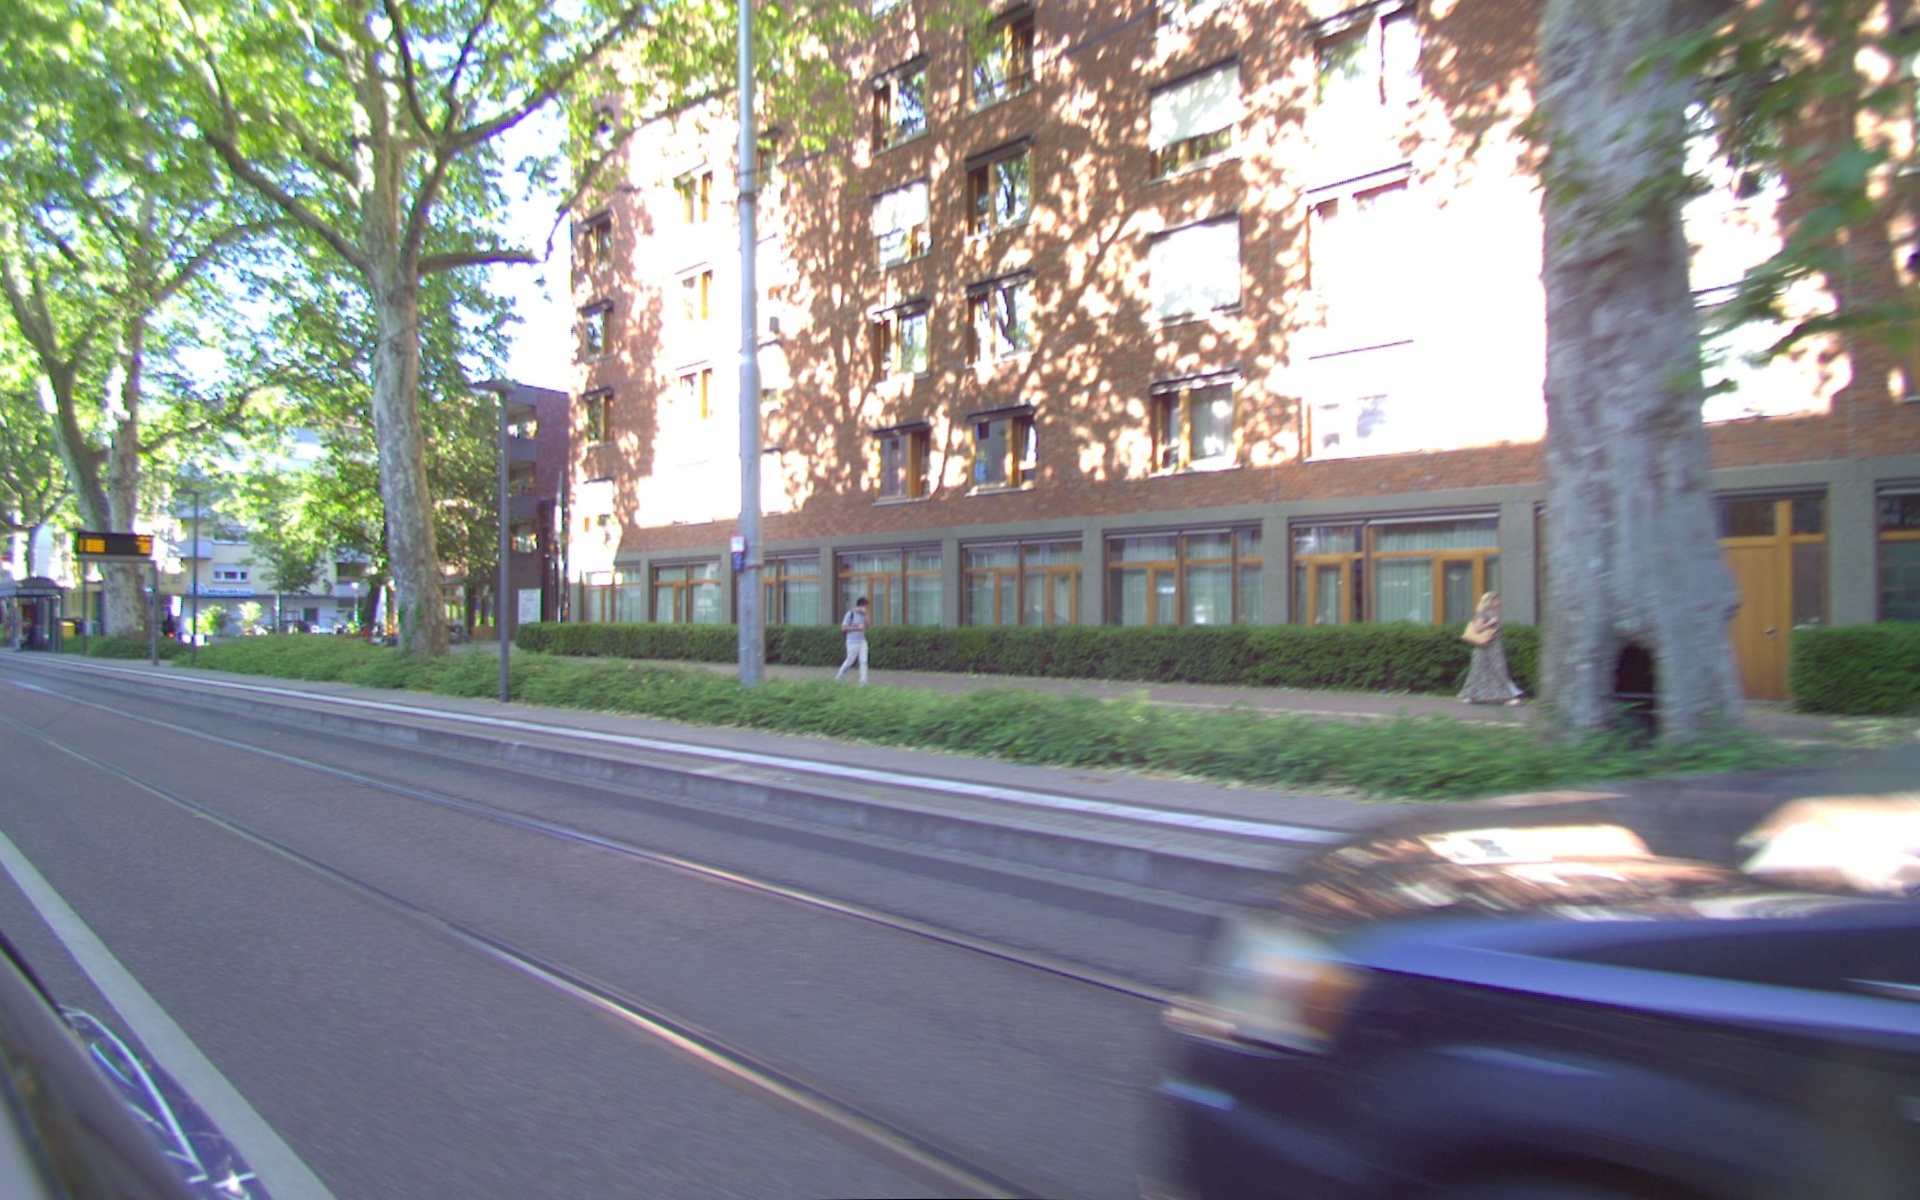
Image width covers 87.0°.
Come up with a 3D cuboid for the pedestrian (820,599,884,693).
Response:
[{"bbox_3d":[-2.087,0.867,19.561,0.971,1.757,0.756,-1,0,41],"label":"pedestrian"}]

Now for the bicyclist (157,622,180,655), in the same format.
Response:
[{"bbox_3d":[-36.729,1.780,46.945,0.892,1.526,0.725,-1,0,44],"label":"bicyclist"}]

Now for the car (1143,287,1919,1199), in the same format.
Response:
[{"bbox_3d":[2.885,0.509,0.719,5.140,1.729,1.973,-1,0,41],"label":"car"}]

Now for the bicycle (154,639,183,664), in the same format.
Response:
[{"bbox_3d":[-36.731,2.372,46.952,2.039,1.102,0.738,-1,0,43],"label":"bicycle"}]

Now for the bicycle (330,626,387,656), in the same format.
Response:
[{"bbox_3d":[-25.819,1.758,43.415,2.067,1.198,0.883,-1,0,-33],"label":"bicycle"}]

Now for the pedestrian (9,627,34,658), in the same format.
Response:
[{"bbox_3d":[-38.513,1.730,41.538,0.473,1.213,0.699,-1,0,42],"label":"pedestrian"}]

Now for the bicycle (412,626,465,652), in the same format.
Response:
[{"bbox_3d":[-23.572,1.762,45.768,2.012,1.102,0.821,-1,0,3],"label":"bicycle"}]
